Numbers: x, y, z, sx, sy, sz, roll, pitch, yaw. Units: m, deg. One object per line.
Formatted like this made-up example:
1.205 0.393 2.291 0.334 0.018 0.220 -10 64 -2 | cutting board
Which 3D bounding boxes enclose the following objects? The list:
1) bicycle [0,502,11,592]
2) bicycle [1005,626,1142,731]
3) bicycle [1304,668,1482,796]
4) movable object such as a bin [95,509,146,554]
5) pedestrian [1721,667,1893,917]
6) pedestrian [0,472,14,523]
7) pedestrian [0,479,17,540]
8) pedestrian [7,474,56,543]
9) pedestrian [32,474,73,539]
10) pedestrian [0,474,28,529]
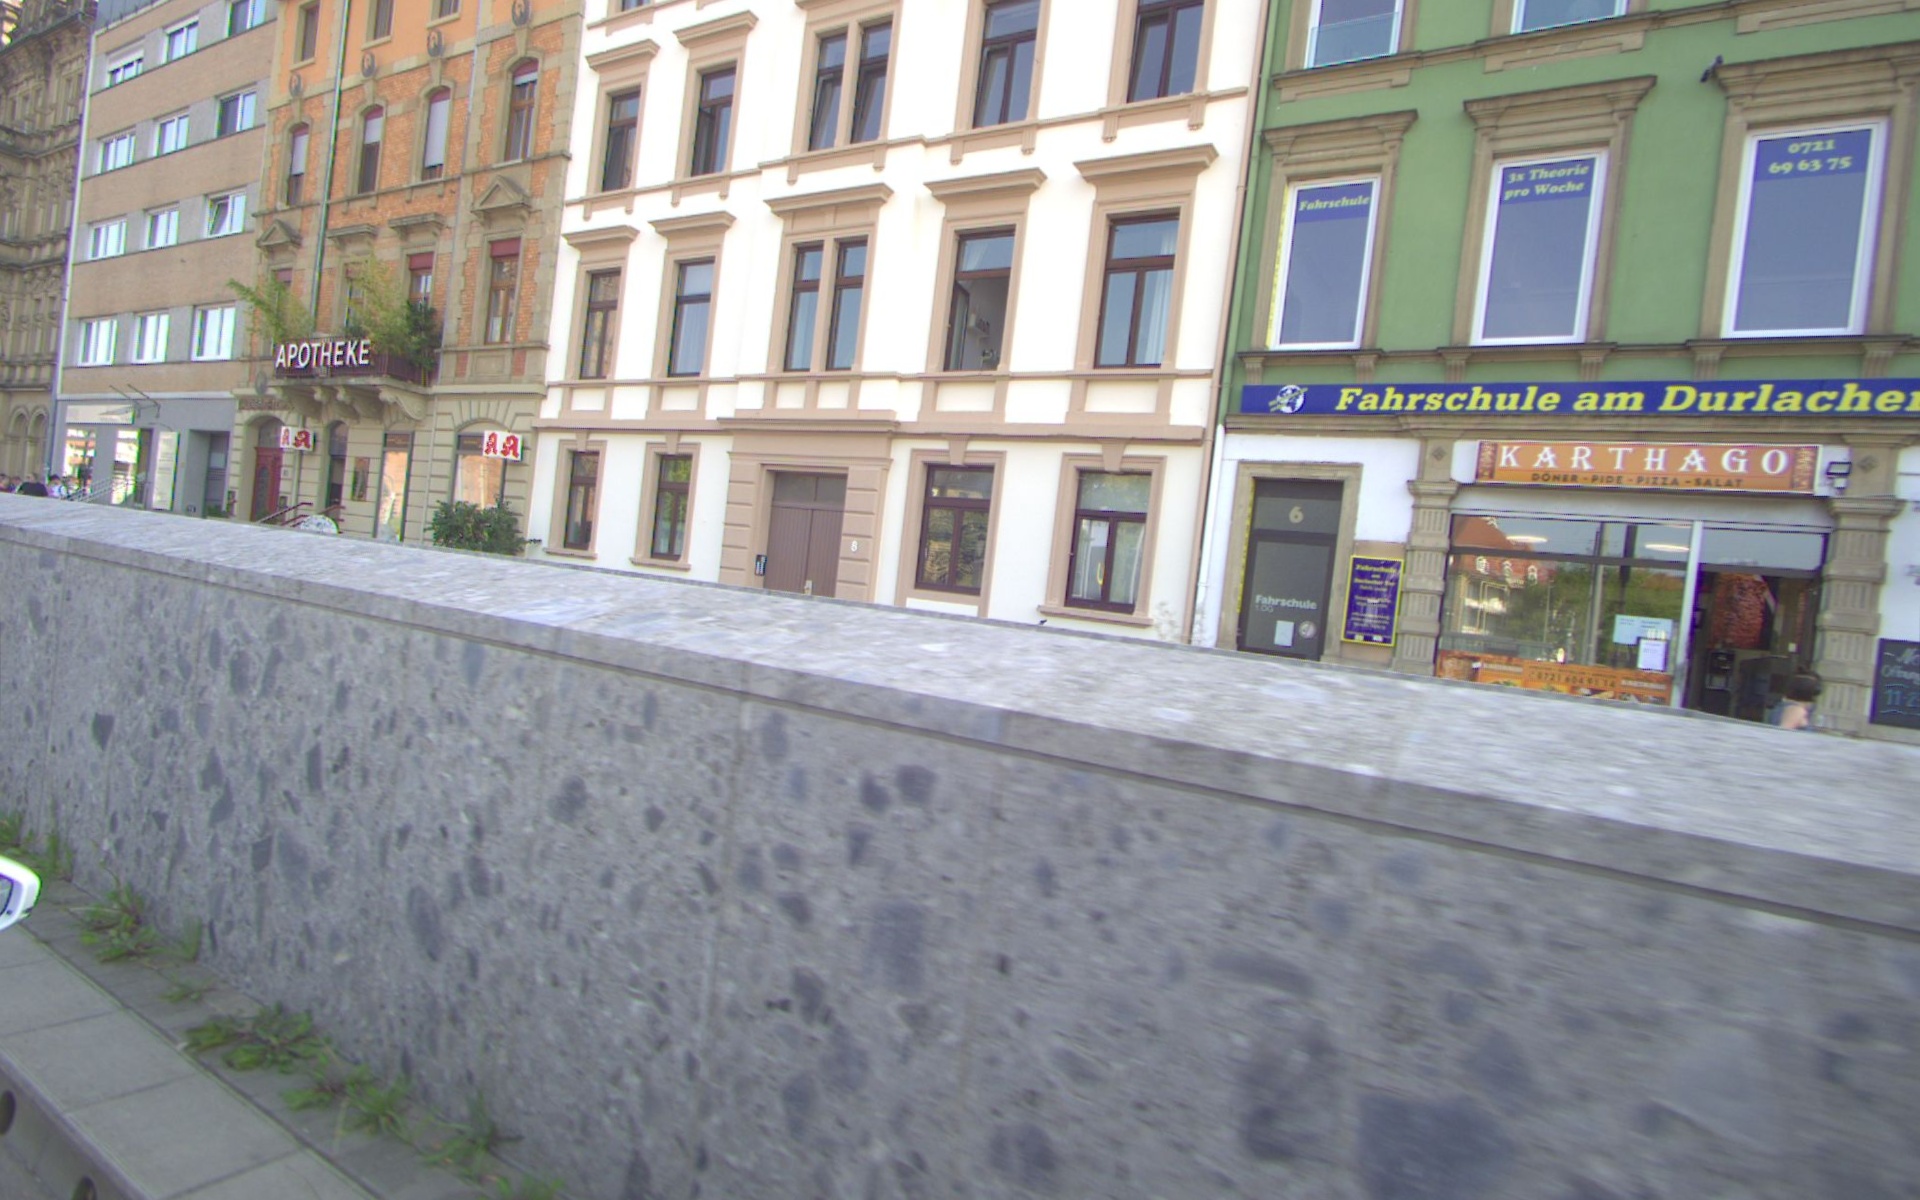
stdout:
-13.105 -0.756 12.631 0.378 1.163 1.636 7 0 27 | bicycle
1.486 1.019 13.352 1.691 1.148 0.384 7 1 32 | bicycle
4.862 1.453 11.353 1.691 1.148 0.384 7 1 32 | bicycle
-23.127 -1.877 27.720 0.657 1.094 0.739 7 1 15 | movable object such as a bin
6.186 1.360 7.394 0.725 1.649 0.609 7 1 32 | pedestrian
-33.481 -3.582 34.962 0.577 1.713 0.604 7 1 28 | pedestrian
-26.735 -2.553 27.780 0.842 1.630 0.720 7 1 33 | pedestrian
-26.266 -2.576 28.464 0.842 1.810 0.720 7 1 33 | pedestrian
-27.856 -2.863 30.891 0.729 1.855 0.604 7 1 28 | pedestrian
-32.546 -3.373 34.495 0.502 1.753 0.604 7 1 28 | pedestrian
